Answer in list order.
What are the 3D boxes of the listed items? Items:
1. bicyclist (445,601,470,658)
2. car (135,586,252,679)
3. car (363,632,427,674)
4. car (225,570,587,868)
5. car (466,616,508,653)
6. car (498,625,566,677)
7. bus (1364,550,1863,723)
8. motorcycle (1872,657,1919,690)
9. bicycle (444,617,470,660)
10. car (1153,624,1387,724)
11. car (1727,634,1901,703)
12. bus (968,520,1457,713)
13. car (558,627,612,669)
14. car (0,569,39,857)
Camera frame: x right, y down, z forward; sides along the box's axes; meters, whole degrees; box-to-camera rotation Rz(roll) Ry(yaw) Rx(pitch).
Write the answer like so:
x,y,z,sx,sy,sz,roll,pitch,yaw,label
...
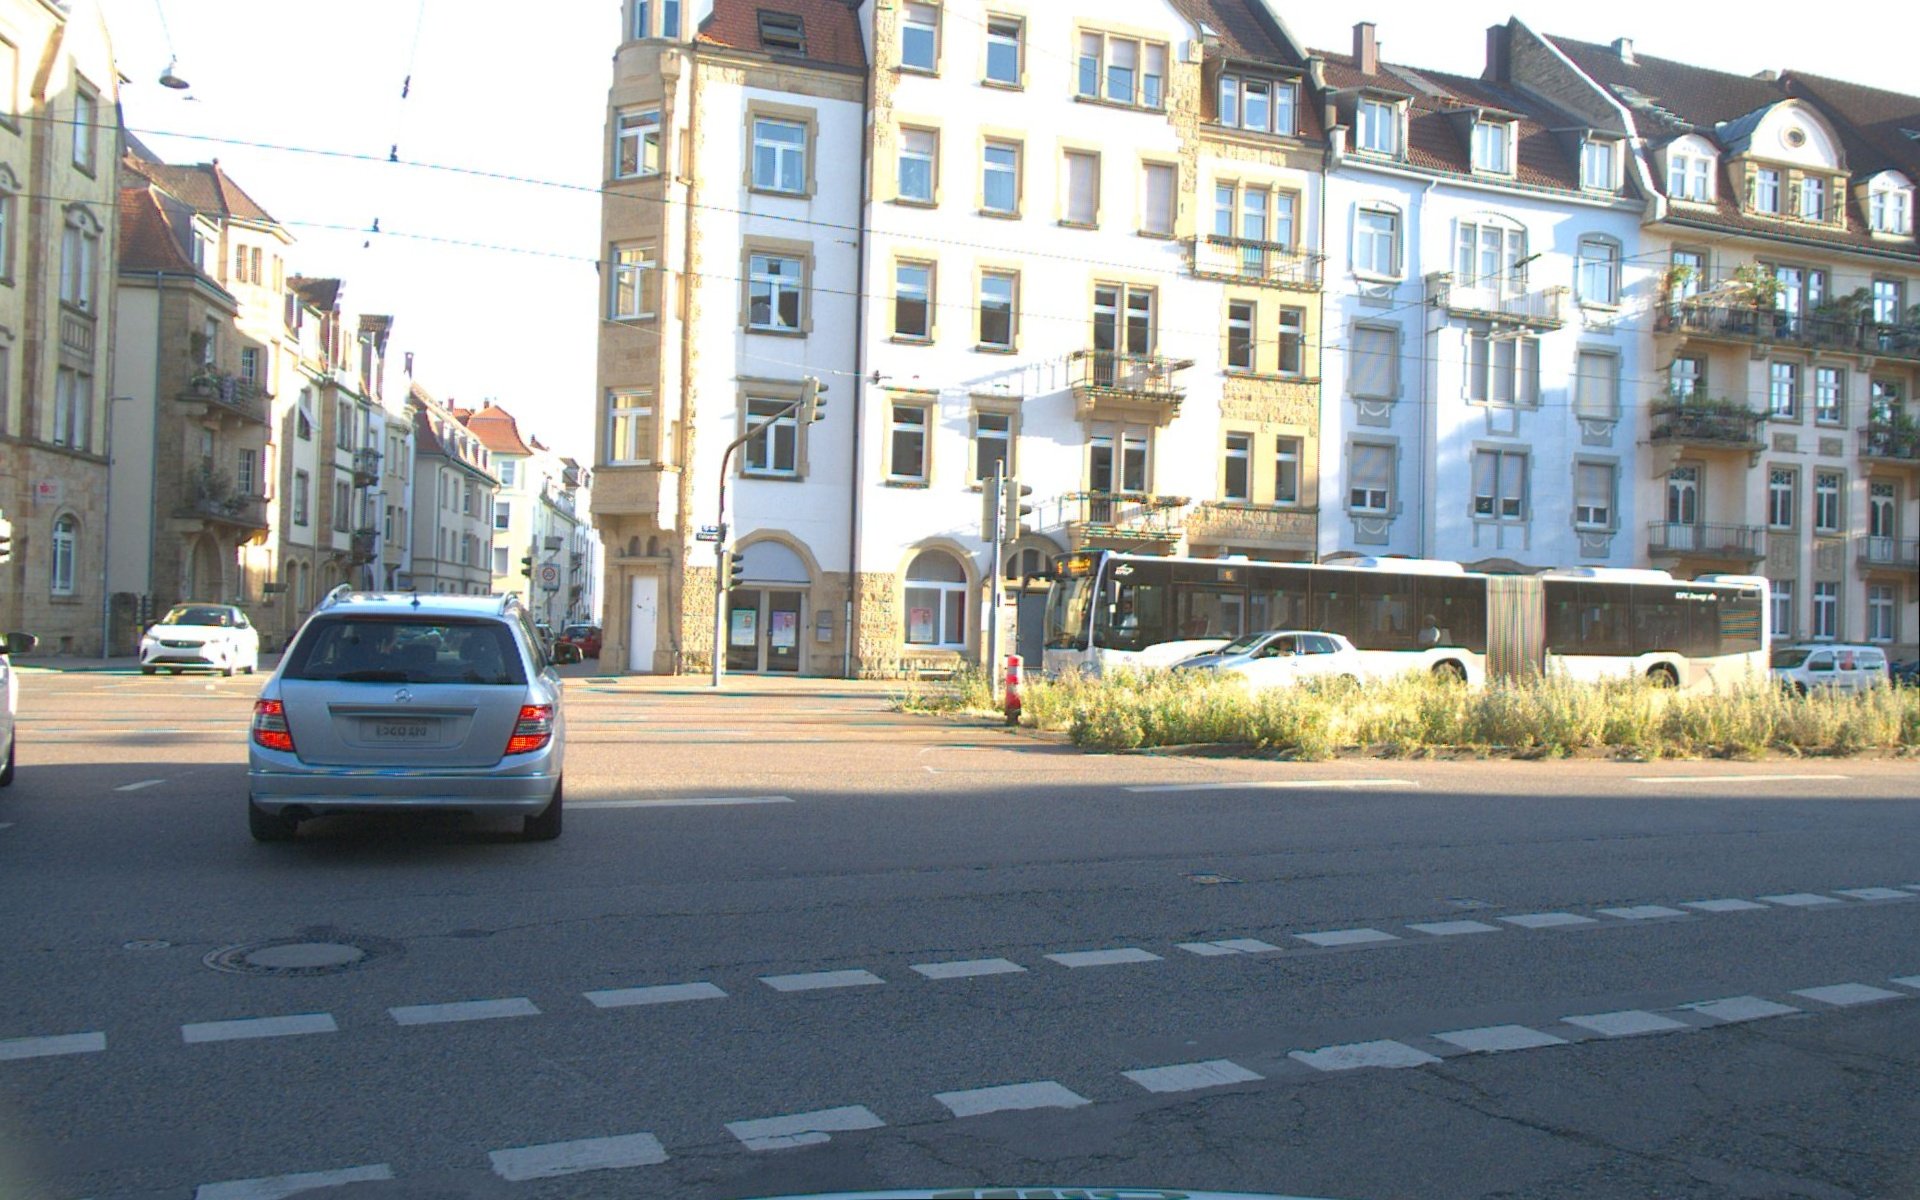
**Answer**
x,y,z,sx,sy,sz,roll,pitch,yaw,label
-13.767,0.799,45.319,0.600,1.520,0.764,3,-2,-17,bicyclist
-15.674,0.643,33.731,1.810,1.736,3.961,3,-2,-29,car
-24.214,2.252,71.029,1.796,1.644,3.992,2,-1,-8,car
-3.319,0.615,10.638,1.702,1.503,4.159,3,0,-12,car
-24.623,1.791,86.221,1.798,1.777,3.987,3,-1,-12,car
-14.638,1.721,56.745,1.796,1.644,3.992,2,-1,-8,car
15.314,0.940,38.459,11.768,3.433,3.244,3,-2,-22,bus
31.119,2.418,54.453,2.378,1.038,0.526,2,1,-23,motorcycle
-13.793,1.052,45.373,0.609,1.124,2.540,3,-1,-17,bicycle
5.885,1.403,31.518,3.925,1.713,1.926,3,-2,-18,car
24.744,1.987,47.934,4.569,1.818,1.899,3,-2,-20,car
5.302,0.448,34.402,9.727,3.433,3.254,3,-2,-22,bus
-16.467,2.094,72.771,1.795,1.736,3.994,2,-1,-7,car
-6.559,0.561,9.949,1.713,1.506,3.777,3,-2,-29,car
